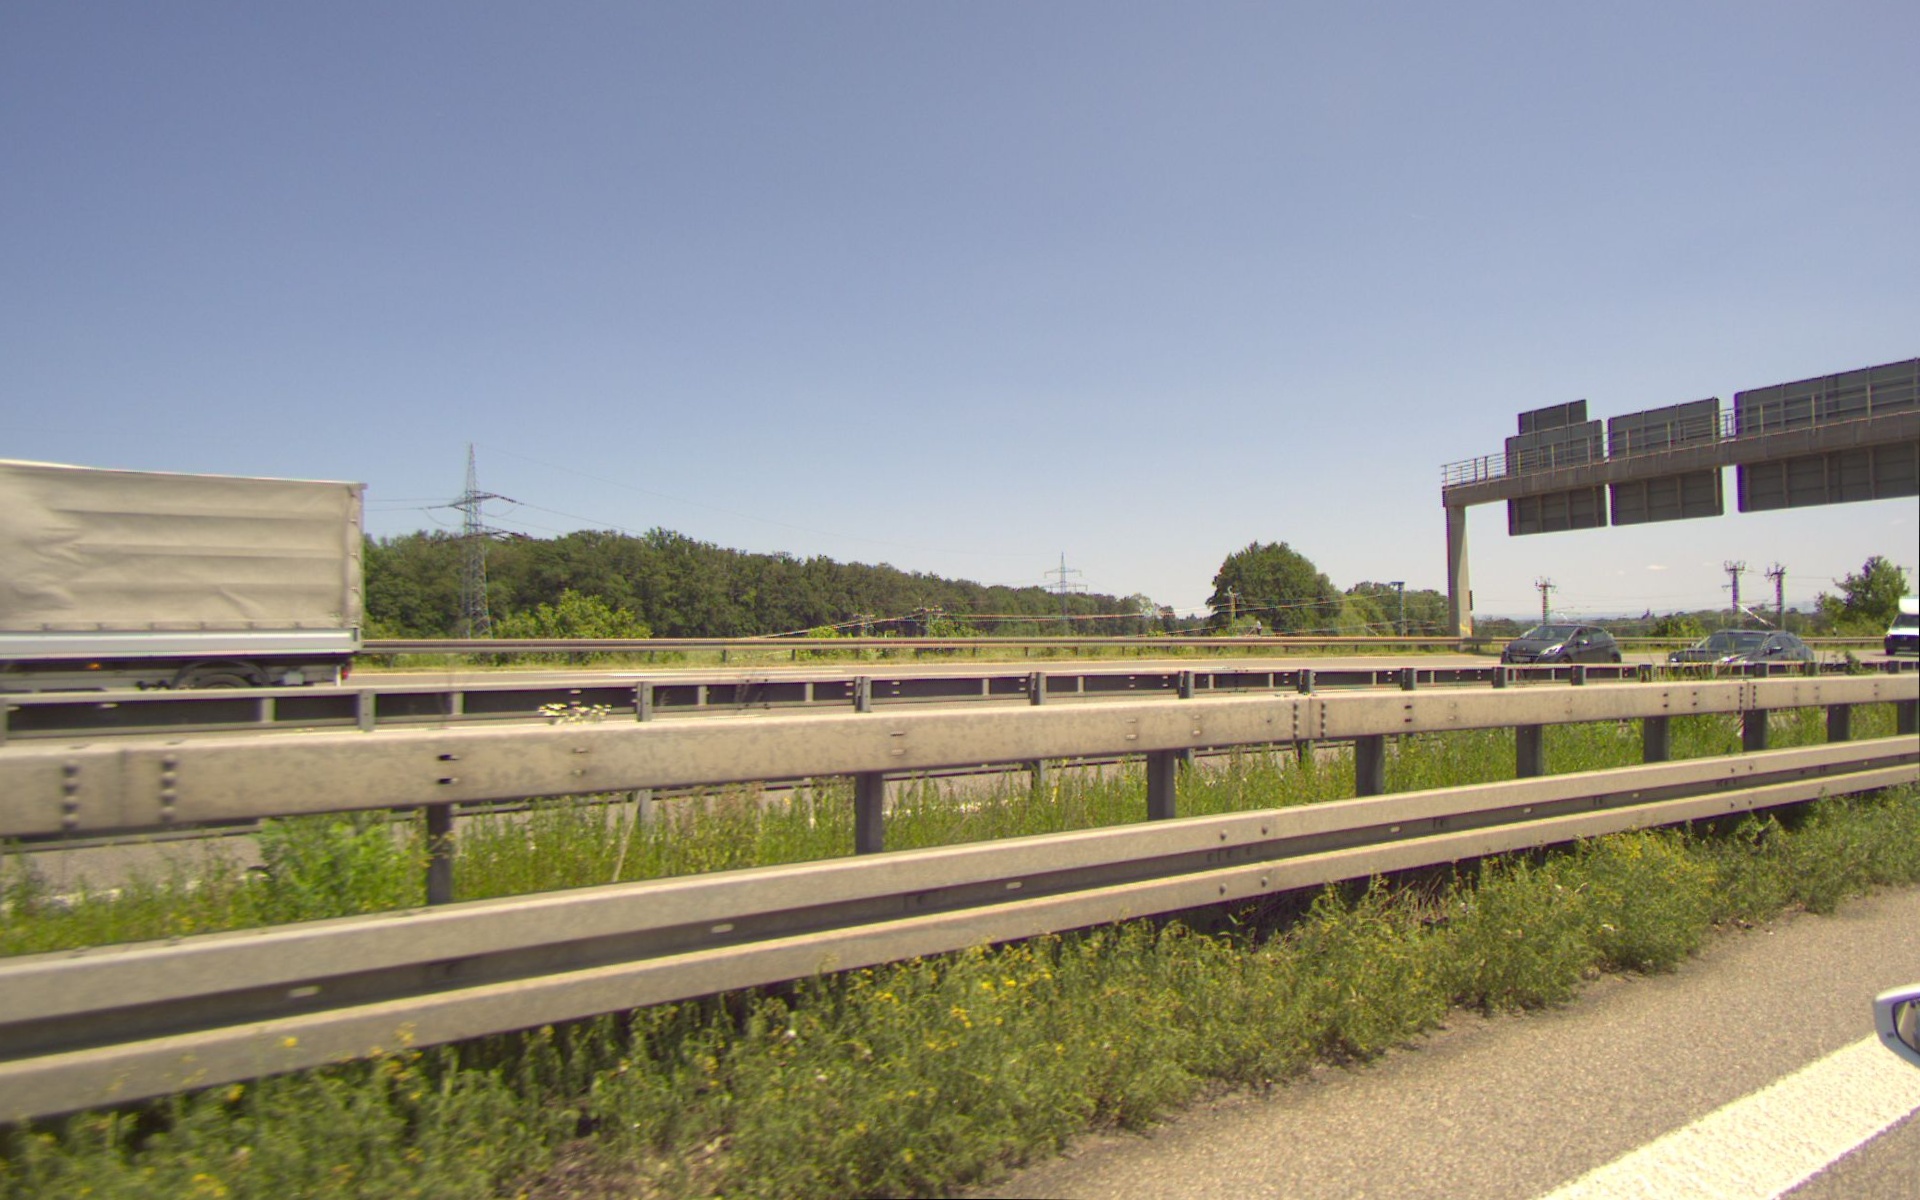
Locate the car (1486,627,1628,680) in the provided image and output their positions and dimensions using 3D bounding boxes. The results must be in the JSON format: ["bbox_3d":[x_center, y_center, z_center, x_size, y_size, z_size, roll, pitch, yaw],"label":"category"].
[{"bbox_3d":[17.466,1.526,29.368,3.952,1.439,1.897,1,-1,-30],"label":"car"}]

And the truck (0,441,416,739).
[{"bbox_3d":[-11.078,-0.101,12.338,7.575,3.320,2.363,2,-1,-32],"label":"truck"}]

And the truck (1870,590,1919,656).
[{"bbox_3d":[50.086,1.209,51.767,8.013,3.209,2.310,1,-1,-29],"label":"truck"}]

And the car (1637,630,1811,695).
[{"bbox_3d":[19.328,1.519,25.363,4.801,1.483,1.782,1,-1,-30],"label":"car"}]
